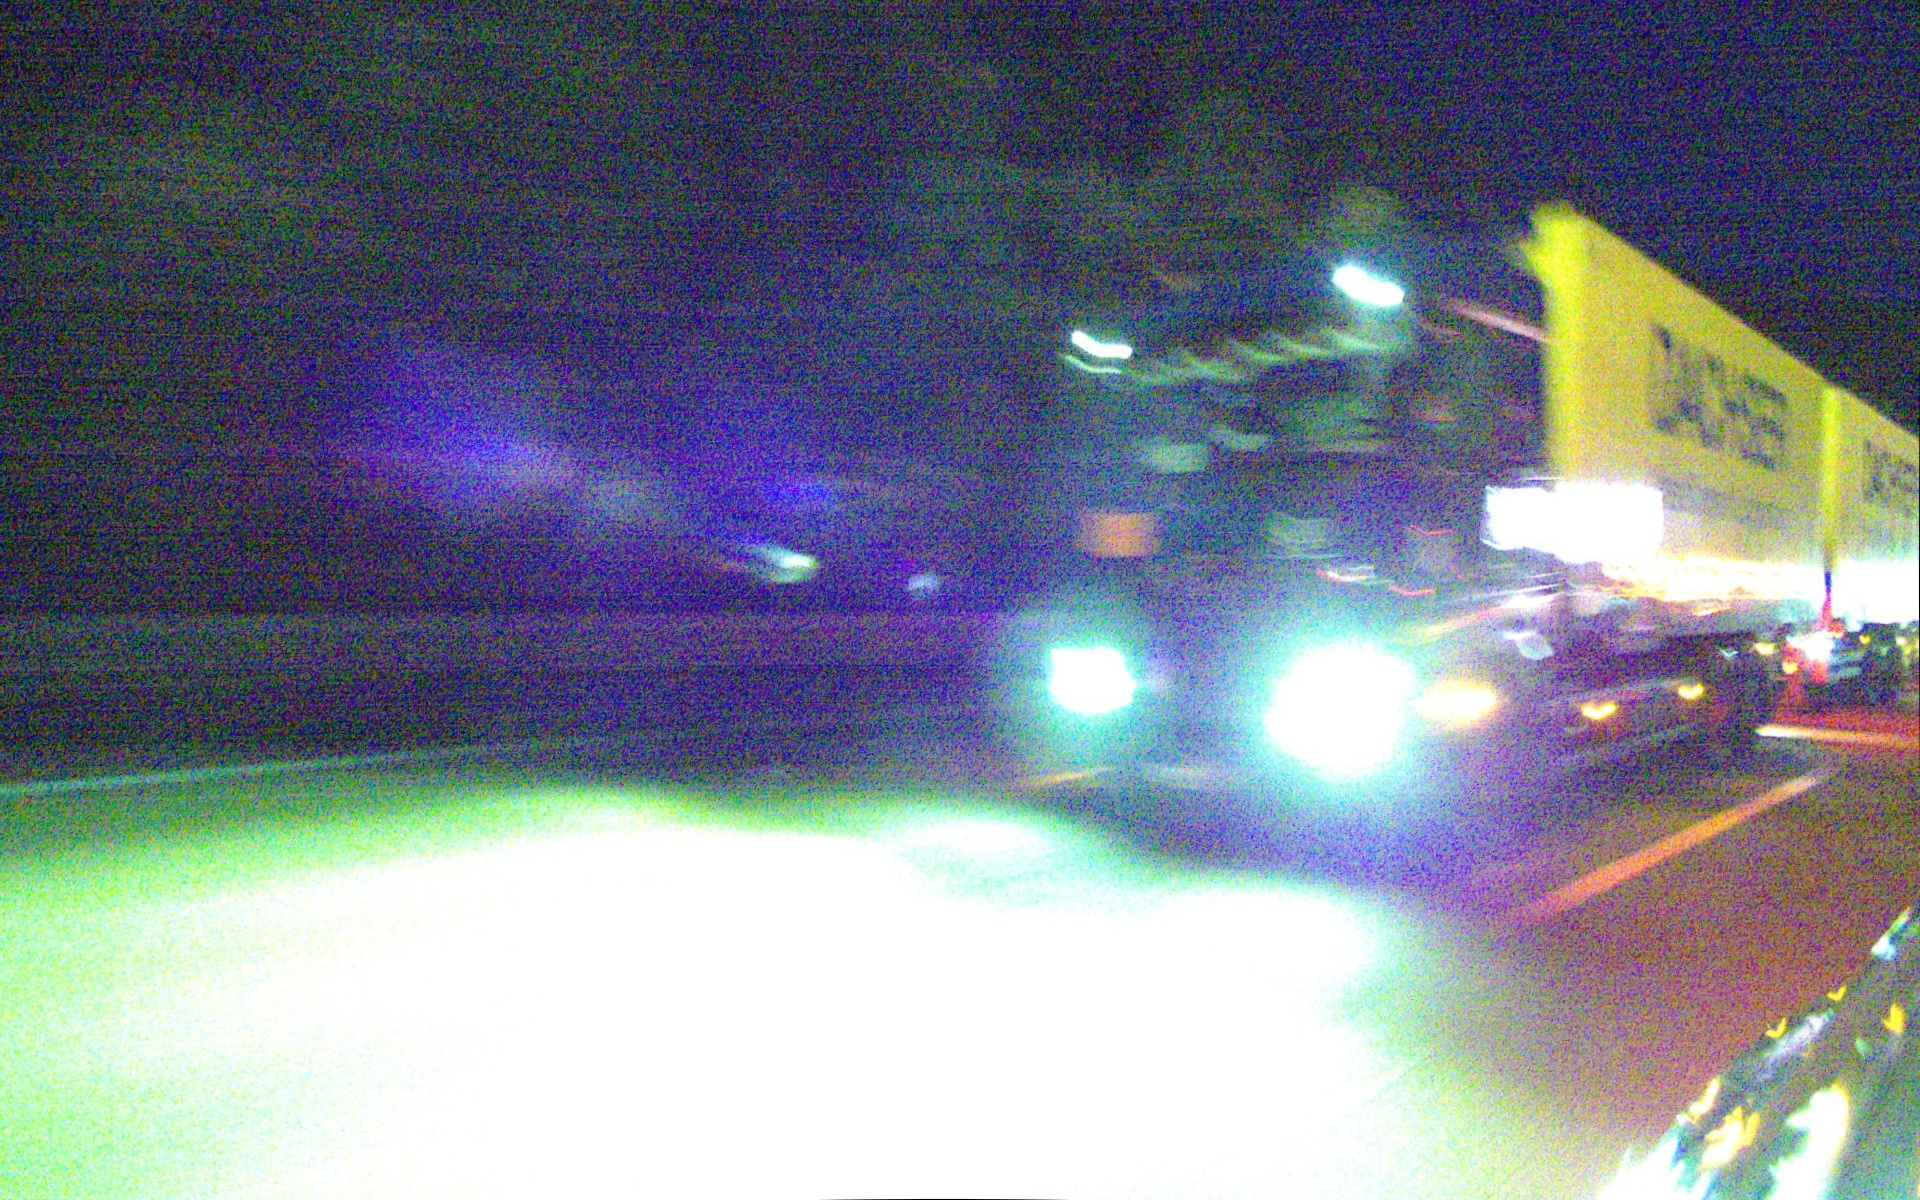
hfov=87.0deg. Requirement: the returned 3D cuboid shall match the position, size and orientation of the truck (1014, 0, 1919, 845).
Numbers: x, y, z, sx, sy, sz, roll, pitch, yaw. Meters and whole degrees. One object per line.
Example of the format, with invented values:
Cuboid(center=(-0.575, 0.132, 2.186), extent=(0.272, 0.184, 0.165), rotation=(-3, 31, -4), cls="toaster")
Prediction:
Cuboid(center=(8.639, -0.949, 12.011), extent=(18.371, 4.186, 3.491), rotation=(0, 1, -39), cls="truck")
